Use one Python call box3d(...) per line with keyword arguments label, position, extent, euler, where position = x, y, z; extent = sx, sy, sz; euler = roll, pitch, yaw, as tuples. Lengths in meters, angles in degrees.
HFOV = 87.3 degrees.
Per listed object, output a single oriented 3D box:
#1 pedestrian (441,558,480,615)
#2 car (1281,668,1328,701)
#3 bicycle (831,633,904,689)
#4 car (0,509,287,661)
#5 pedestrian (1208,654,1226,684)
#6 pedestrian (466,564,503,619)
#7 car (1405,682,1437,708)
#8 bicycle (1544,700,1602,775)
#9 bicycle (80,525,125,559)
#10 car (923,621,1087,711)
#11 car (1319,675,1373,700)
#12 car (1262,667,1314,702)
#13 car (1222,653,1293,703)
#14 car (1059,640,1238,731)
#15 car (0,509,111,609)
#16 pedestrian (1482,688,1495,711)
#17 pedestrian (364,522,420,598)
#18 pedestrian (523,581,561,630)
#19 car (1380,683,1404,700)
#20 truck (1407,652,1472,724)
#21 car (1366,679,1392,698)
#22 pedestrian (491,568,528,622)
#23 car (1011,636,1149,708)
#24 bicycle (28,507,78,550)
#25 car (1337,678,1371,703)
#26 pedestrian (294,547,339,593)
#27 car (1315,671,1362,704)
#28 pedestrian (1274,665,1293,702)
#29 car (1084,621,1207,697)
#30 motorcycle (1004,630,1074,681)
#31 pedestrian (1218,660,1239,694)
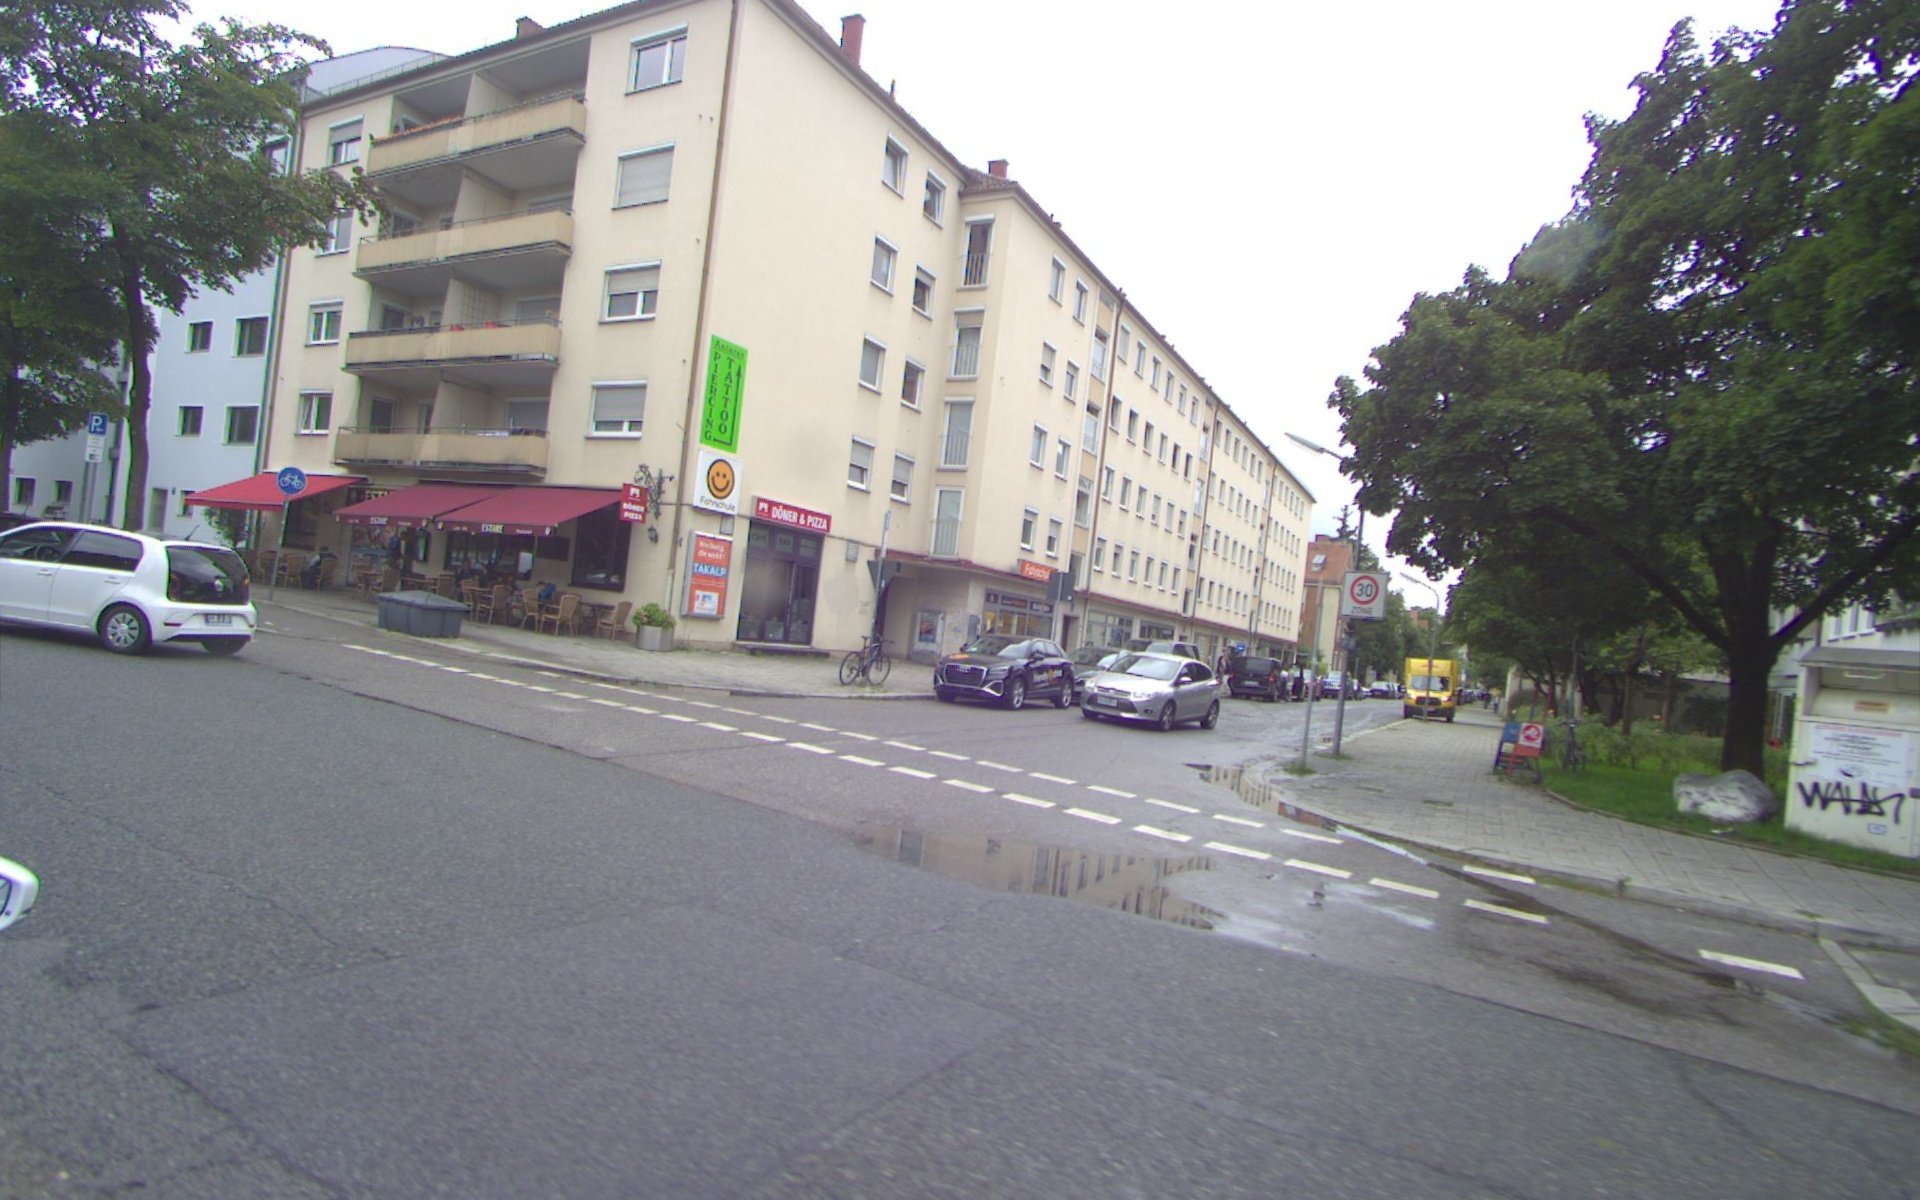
box3d(label="pedestrian", position=(-12.795, -0.340, 25.764), extent=(0.543, 1.355, 0.539), euler=(6, -1, 31))
box3d(label="car", position=(18.207, 4.486, 53.095), extent=(1.573, 1.459, 3.764), euler=(6, -2, 30))
box3d(label="bicycle", position=(-1.884, 1.260, 20.689), extent=(0.545, 1.022, 1.541), euler=(6, -1, 34))
box3d(label="car", position=(-10.756, -0.214, 12.626), extent=(3.370, 1.507, 1.693), euler=(7, -1, 4))
box3d(label="pedestrian", position=(14.343, 3.852, 56.146), extent=(0.710, 1.532, 0.424), euler=(6, -1, 30))
box3d(label="pedestrian", position=(-11.833, -0.212, 25.052), extent=(0.479, 1.283, 0.539), euler=(6, -1, 30))
box3d(label="car", position=(32.883, 6.777, 71.721), extent=(1.573, 1.638, 3.763), euler=(6, -2, 30))
box3d(label="bicycle", position=(10.727, 2.381, 17.643), extent=(0.687, 1.170, 1.472), euler=(6, -1, 29))
box3d(label="bicycle", position=(-31.117, -2.122, 36.497), extent=(2.159, 1.061, 0.621), euler=(6, 3, 32))
box3d(label="car", position=(1.047, 1.428, 21.209), extent=(1.701, 1.537, 3.933), euler=(6, -2, 30))
box3d(label="car", position=(30.141, 6.840, 78.624), extent=(3.701, 1.459, 1.600), euler=(6, -1, 25))
box3d(label="car", position=(16.140, 4.179, 49.347), extent=(1.573, 1.459, 3.764), euler=(6, -2, 30))
box3d(label="car", position=(13.130, 3.444, 44.150), extent=(2.117, 1.806, 4.999), euler=(6, -2, 25))
box3d(label="car", position=(3.988, 1.791, 20.701), extent=(1.968, 1.459, 4.212), euler=(6, -2, 35))
box3d(label="car", position=(-16.897, -0.855, 17.482), extent=(3.820, 1.490, 1.834), euler=(6, -1, 27))
box3d(label="pedestrian", position=(50.583, 9.498, 96.296), extent=(0.893, 2.038, 1.078), euler=(7, -1, 32))
box3d(label="pedestrian", position=(-15.617, -1.083, 27.658), extent=(0.747, 1.952, 0.872), euler=(7, -1, 16))
box3d(label="pedestrian", position=(-9.802, 0.131, 23.610), extent=(0.479, 1.066, 0.539), euler=(6, -1, 32))
box3d(label="car", position=(42.893, 9.081, 99.849), extent=(1.573, 1.459, 3.764), euler=(6, -2, 30))
box3d(label="truck", position=(21.914, 4.021, 45.955), extent=(2.236, 2.803, 6.765), euler=(6, -2, 26))
box3d(label="car", position=(37.402, 7.950, 89.835), extent=(1.573, 1.459, 3.764), euler=(6, -2, 30))
box3d(label="pedestrian", position=(-10.999, -0.129, 24.562), extent=(0.479, 1.229, 0.539), euler=(6, -1, 32))
box3d(label="car", position=(3.152, 1.869, 25.634), extent=(1.966, 1.459, 3.995), euler=(6, -2, 30))
box3d(label="bicycle", position=(-34.740, -2.751, 38.512), extent=(2.550, 1.425, 0.703), euler=(6, 2, 32))
box3d(label="car", position=(27.616, 6.365, 70.456), extent=(1.573, 1.459, 3.764), euler=(6, -2, 30))
box3d(label="pedestrian", position=(-17.997, -0.839, 28.146), extent=(0.636, 1.177, 0.744), euler=(6, -1, 31))
box3d(label="car", position=(24.799, 5.732, 65.832), extent=(1.966, 1.806, 4.994), euler=(6, -2, 30))
box3d(label="pedestrian", position=(14.234, 3.669, 44.277), extent=(0.486, 1.551, 0.733), euler=(6, -1, 31))
box3d(label="car", position=(5.751, 1.863, 30.567), extent=(1.966, 1.907, 4.994), euler=(6, -2, 30))
box3d(label="motorcycle", position=(2.661, 1.859, 33.204), extent=(0.875, 1.459, 3.259), euler=(6, -2, 29))
box3d(label="pedestrian", position=(11.982, 3.421, 44.870), extent=(0.721, 1.427, 0.494), euler=(6, -1, 24))
